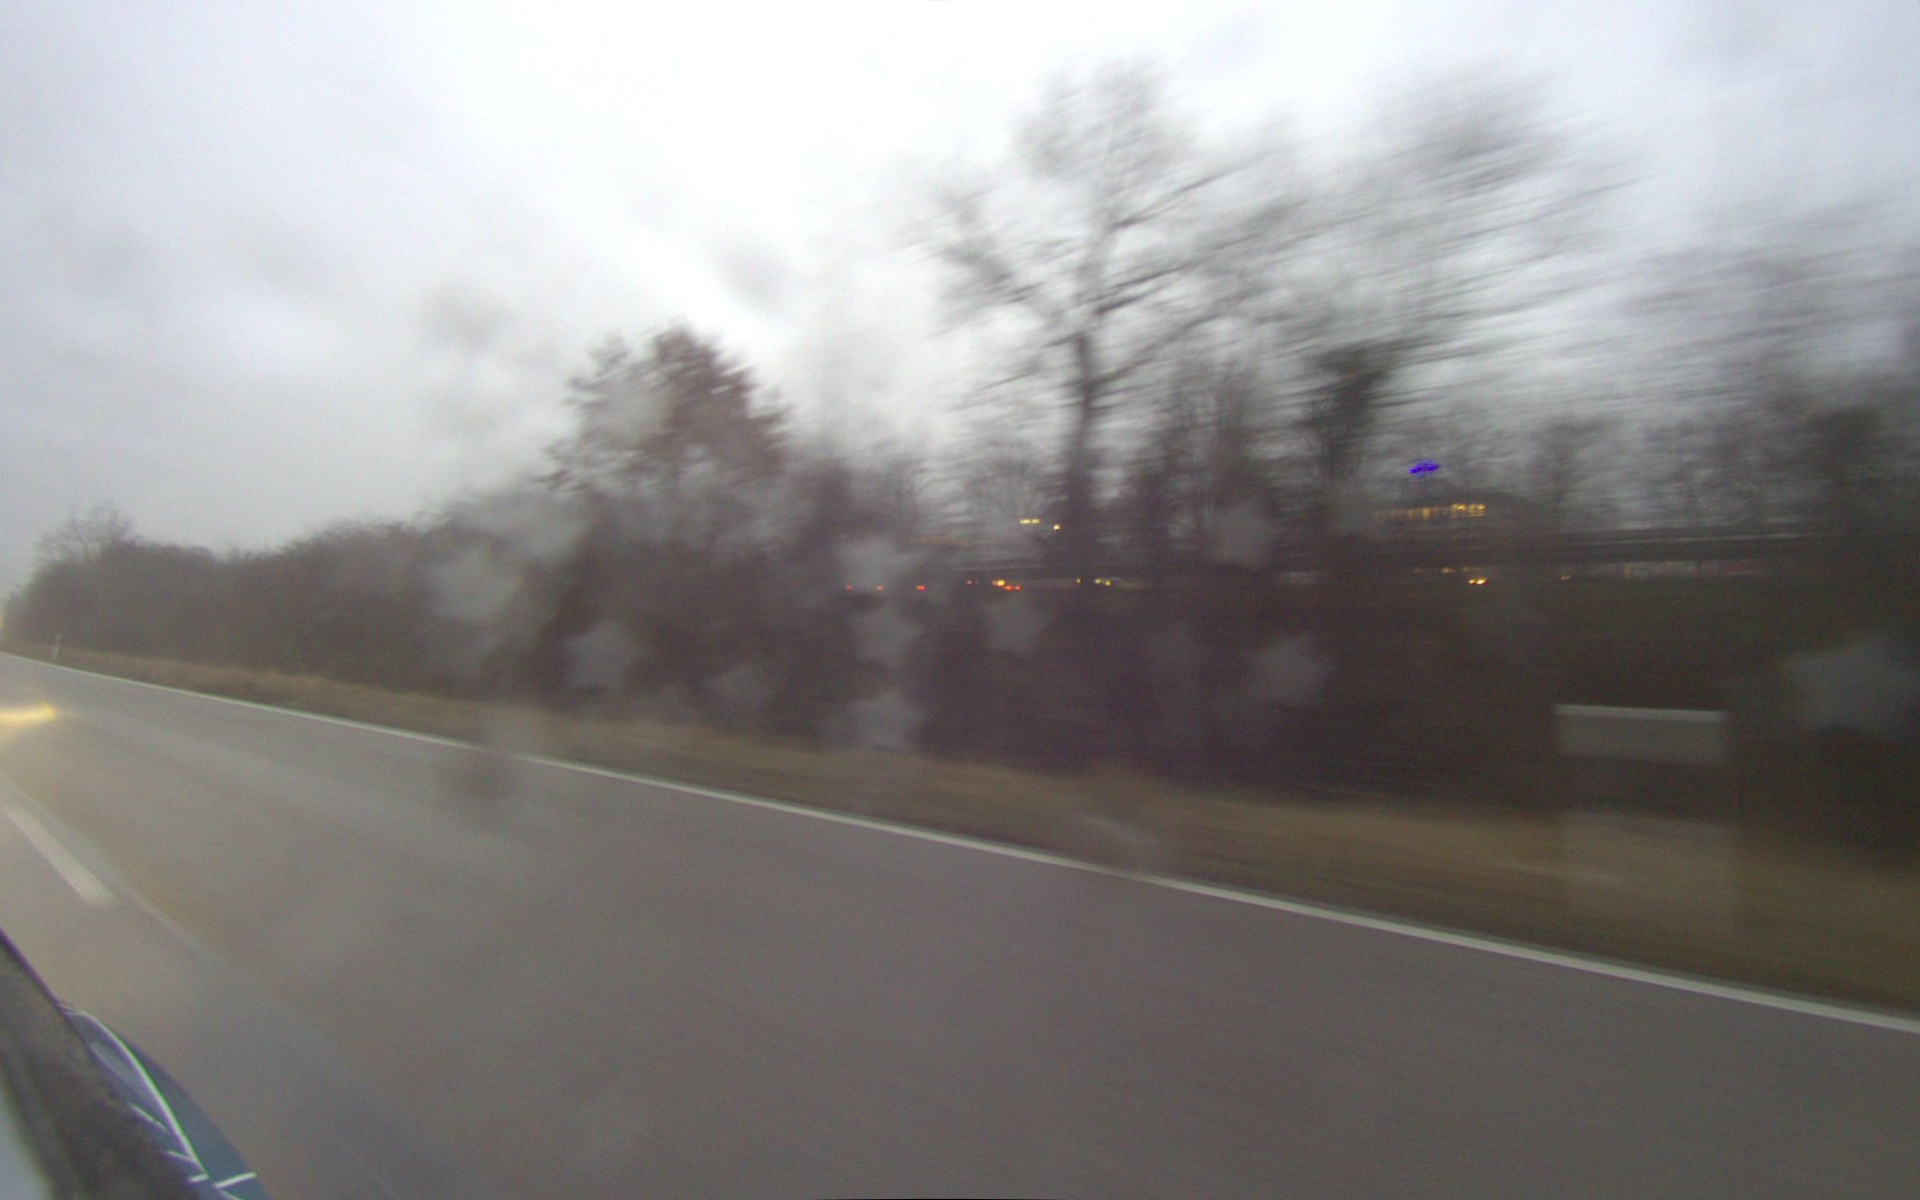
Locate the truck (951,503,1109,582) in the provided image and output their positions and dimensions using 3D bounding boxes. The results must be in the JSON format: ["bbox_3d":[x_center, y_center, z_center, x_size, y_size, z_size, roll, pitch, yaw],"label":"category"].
[{"bbox_3d":[2.452,-1.985,36.710,5.653,2.512,1.974,-1,0,40],"label":"truck"}]
